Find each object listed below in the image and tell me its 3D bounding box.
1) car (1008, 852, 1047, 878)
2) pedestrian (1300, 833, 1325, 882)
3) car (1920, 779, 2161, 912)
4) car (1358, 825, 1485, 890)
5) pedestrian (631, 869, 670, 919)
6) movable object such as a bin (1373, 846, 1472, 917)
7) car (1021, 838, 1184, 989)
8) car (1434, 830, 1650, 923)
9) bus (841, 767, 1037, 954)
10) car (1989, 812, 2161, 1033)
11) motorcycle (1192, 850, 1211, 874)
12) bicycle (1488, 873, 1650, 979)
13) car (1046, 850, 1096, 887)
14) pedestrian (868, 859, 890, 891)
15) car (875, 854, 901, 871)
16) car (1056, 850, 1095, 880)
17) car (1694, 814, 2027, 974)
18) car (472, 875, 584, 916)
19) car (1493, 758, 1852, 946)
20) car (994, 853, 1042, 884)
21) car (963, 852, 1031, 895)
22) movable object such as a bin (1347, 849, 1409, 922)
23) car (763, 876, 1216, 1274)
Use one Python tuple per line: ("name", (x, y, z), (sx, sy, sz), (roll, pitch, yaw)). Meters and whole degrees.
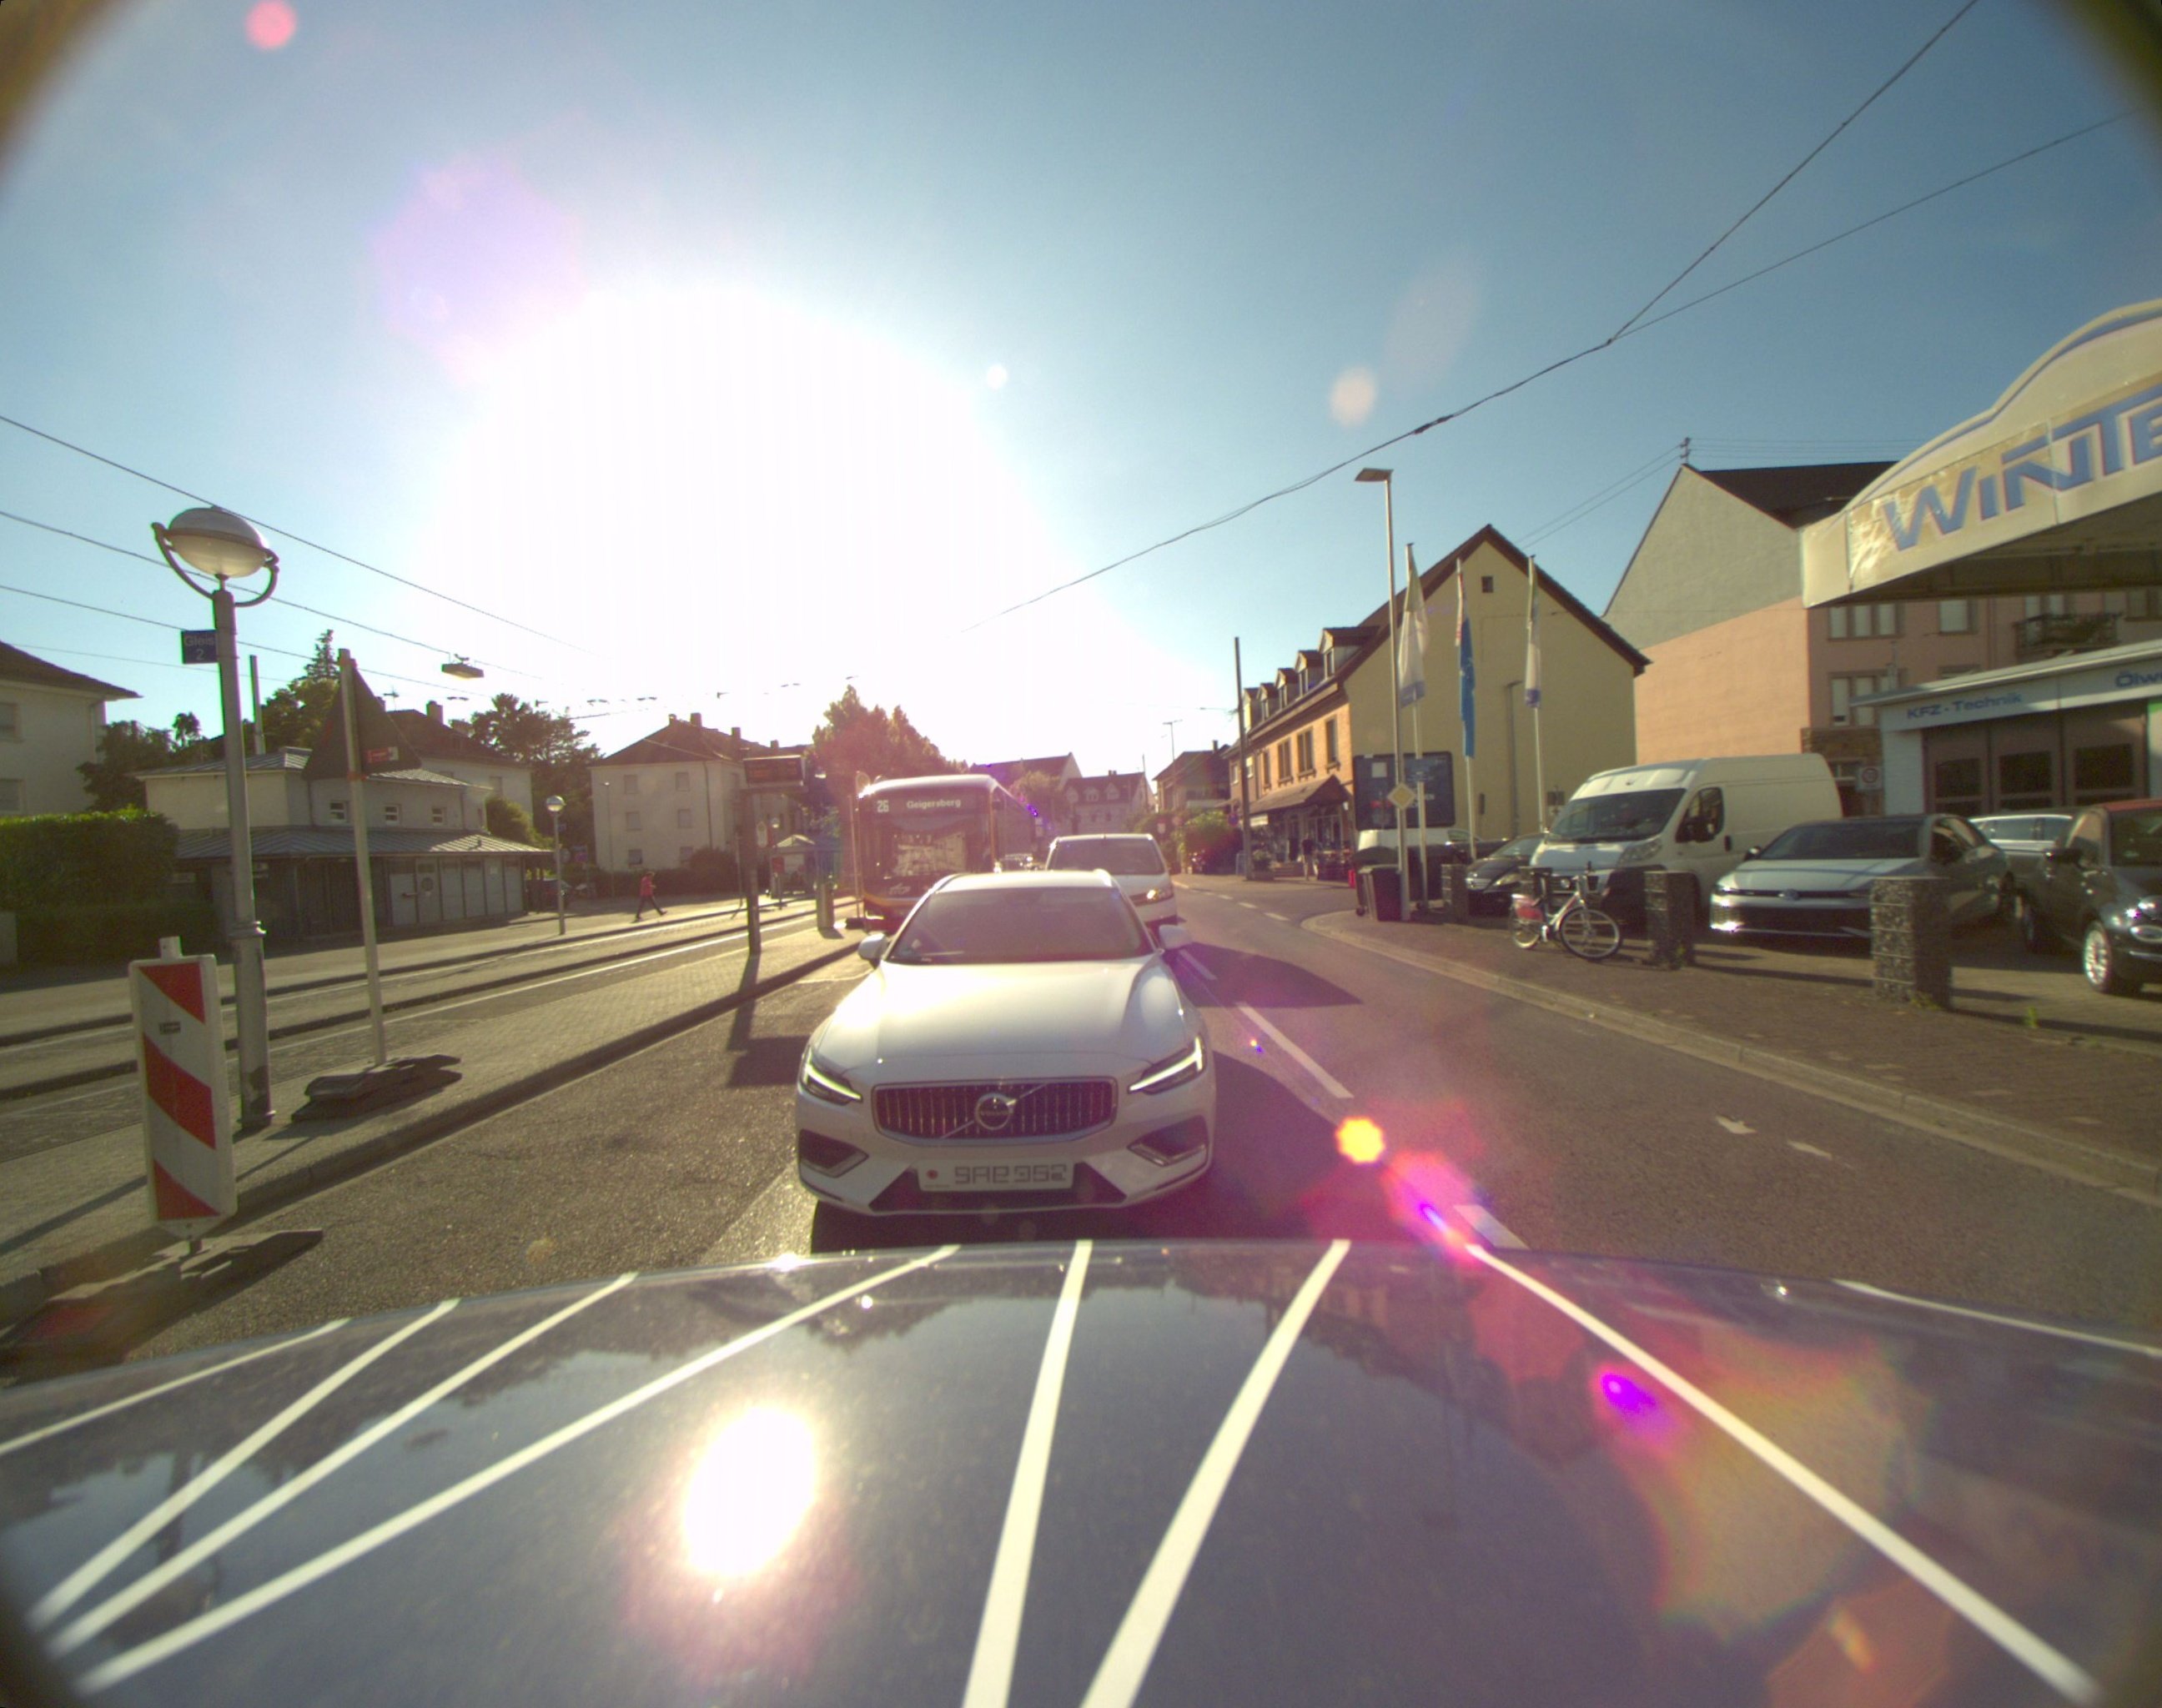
("car", (-3.268, 0.634, 47.302), (1.969, 1.450, 4.824), (-2, 0, 1))
("pedestrian", (8.994, 0.133, 29.541), (0.821, 1.842, 0.768), (-2, 1, 22))
("car", (16.483, -0.173, 11.985), (1.742, 1.933, 4.257), (-3, 1, -1))
("car", (11.567, 0.098, 25.920), (3.672, 2.002, 1.451), (-2, 1, -3))
("pedestrian", (-15.436, 1.436, 27.247), (0.842, 1.708, 0.825), (-2, 1, 3))
("movable object such as a bin", (7.595, 0.579, 16.912), (1.798, 1.456, 1.046), (-3, 1, -25))
("car", (0.305, 0.735, 12.008), (1.969, 1.816, 5.033), (-2, 0, 1))
("car", (8.969, 0.374, 14.745), (4.036, 1.469, 1.739), (-3, 1, -28))
("bus", (-2.917, 0.096, 19.831), (2.748, 3.284, 12.030), (-2, 0, 0))
("car", (9.078, 0.412, 6.163), (1.590, 1.488, 3.442), (-2, 1, 40))
("motorcycle", (6.356, 0.419, 40.117), (0.708, 1.210, 2.186), (-2, 1, 3))
("bicycle", (5.884, 0.815, 9.311), (0.725, 1.080, 1.791), (-3, 1, -3))
("car", (-0.389, 0.585, 33.259), (1.969, 1.450, 4.824), (-2, 0, 1))
("pedestrian", (-10.398, 1.079, 39.161), (0.826, 1.601, 0.840), (-3, 1, -30))
("car", (-23.257, 1.024, 91.771), (1.998, 1.853, 3.999), (-2, 1, 1))
("car", (-0.250, 0.569, 41.506), (1.969, 1.450, 4.824), (-2, 0, 1))
("car", (9.492, 0.360, 9.209), (4.036, 1.488, 1.739), (-3, 1, -28))
("car", (-27.685, 2.052, 38.137), (4.052, 1.663, 2.000), (-4, 1, 2))
("car", (9.145, -0.134, 11.758), (4.997, 2.440, 2.111), (-3, 1, -22))
("car", (-3.226, 0.708, 39.887), (1.969, 1.450, 4.824), (-2, 0, 1))
("car", (-3.149, 0.707, 29.498), (1.969, 1.450, 4.824), (-2, 0, 1))
("movable object such as a bin", (6.238, 0.642, 15.948), (1.045, 1.456, 0.797), (-2, 1, 32))
("car", (-0.351, 0.983, 5.254), (1.821, 1.446, 4.217), (-2, 0, 1))
